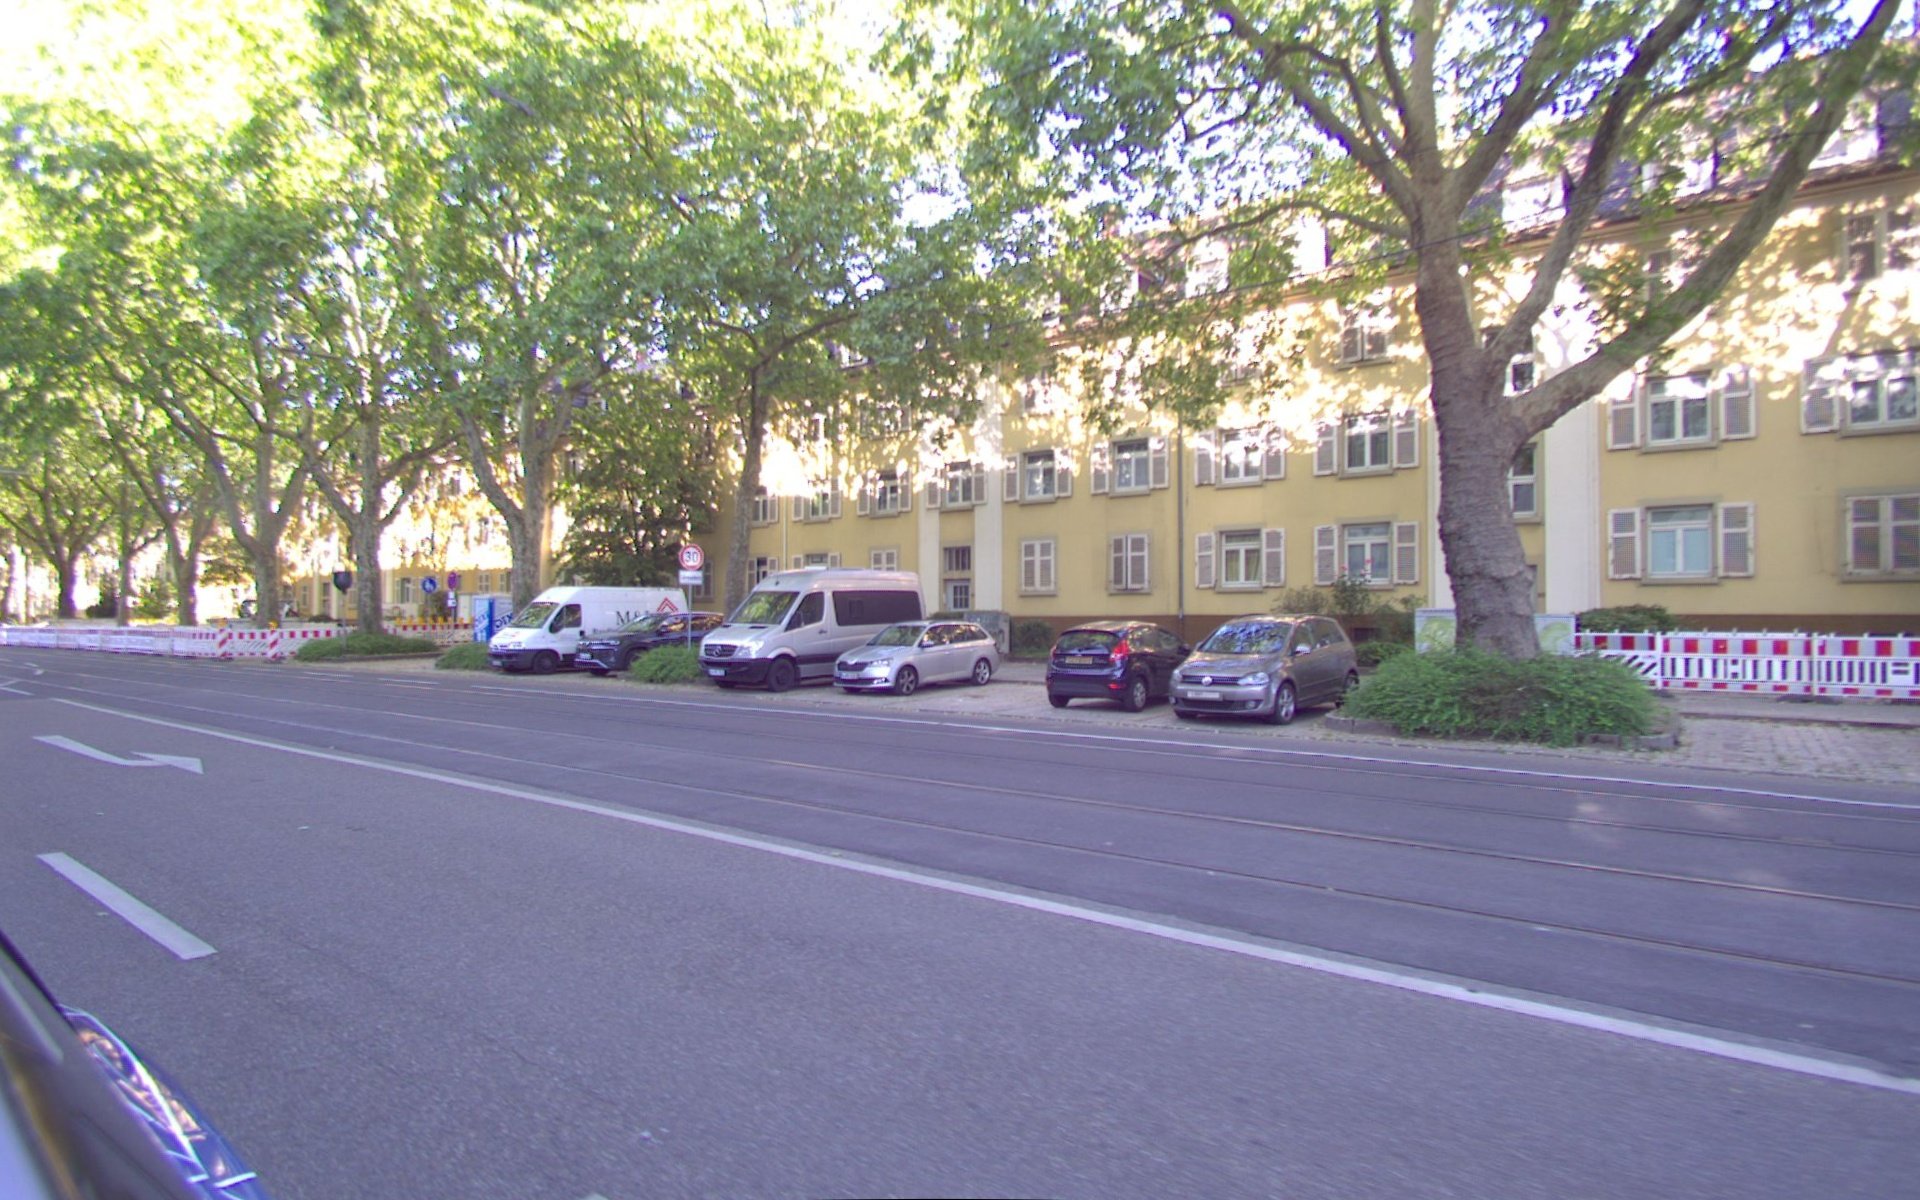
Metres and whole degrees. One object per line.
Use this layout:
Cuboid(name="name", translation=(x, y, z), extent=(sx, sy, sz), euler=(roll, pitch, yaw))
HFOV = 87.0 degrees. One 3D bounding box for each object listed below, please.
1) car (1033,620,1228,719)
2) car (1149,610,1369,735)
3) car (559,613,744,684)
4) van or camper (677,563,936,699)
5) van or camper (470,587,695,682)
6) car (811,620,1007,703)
Cuboid(name="car", translation=(3.092, 1.132, 17.850), extent=(1.692, 1.457, 3.812), euler=(0, 0, 40))
Cuboid(name="car", translation=(4.774, 1.001, 15.812), extent=(1.843, 1.631, 4.029), euler=(0, 0, 40))
Cuboid(name="car", translation=(-8.009, 1.205, 26.658), extent=(1.692, 1.645, 4.482), euler=(0, 0, 40))
Cuboid(name="van or camper", translation=(-3.248, 0.599, 22.724), extent=(2.154, 2.668, 5.858), euler=(0, 0, 39))
Cuboid(name="van or camper", translation=(-10.493, 0.875, 28.593), extent=(2.154, 2.403, 5.692), euler=(0, 0, 39))
Cuboid(name="car", translation=(-0.965, 1.200, 21.196), extent=(1.692, 1.457, 4.222), euler=(0, 0, 40))
